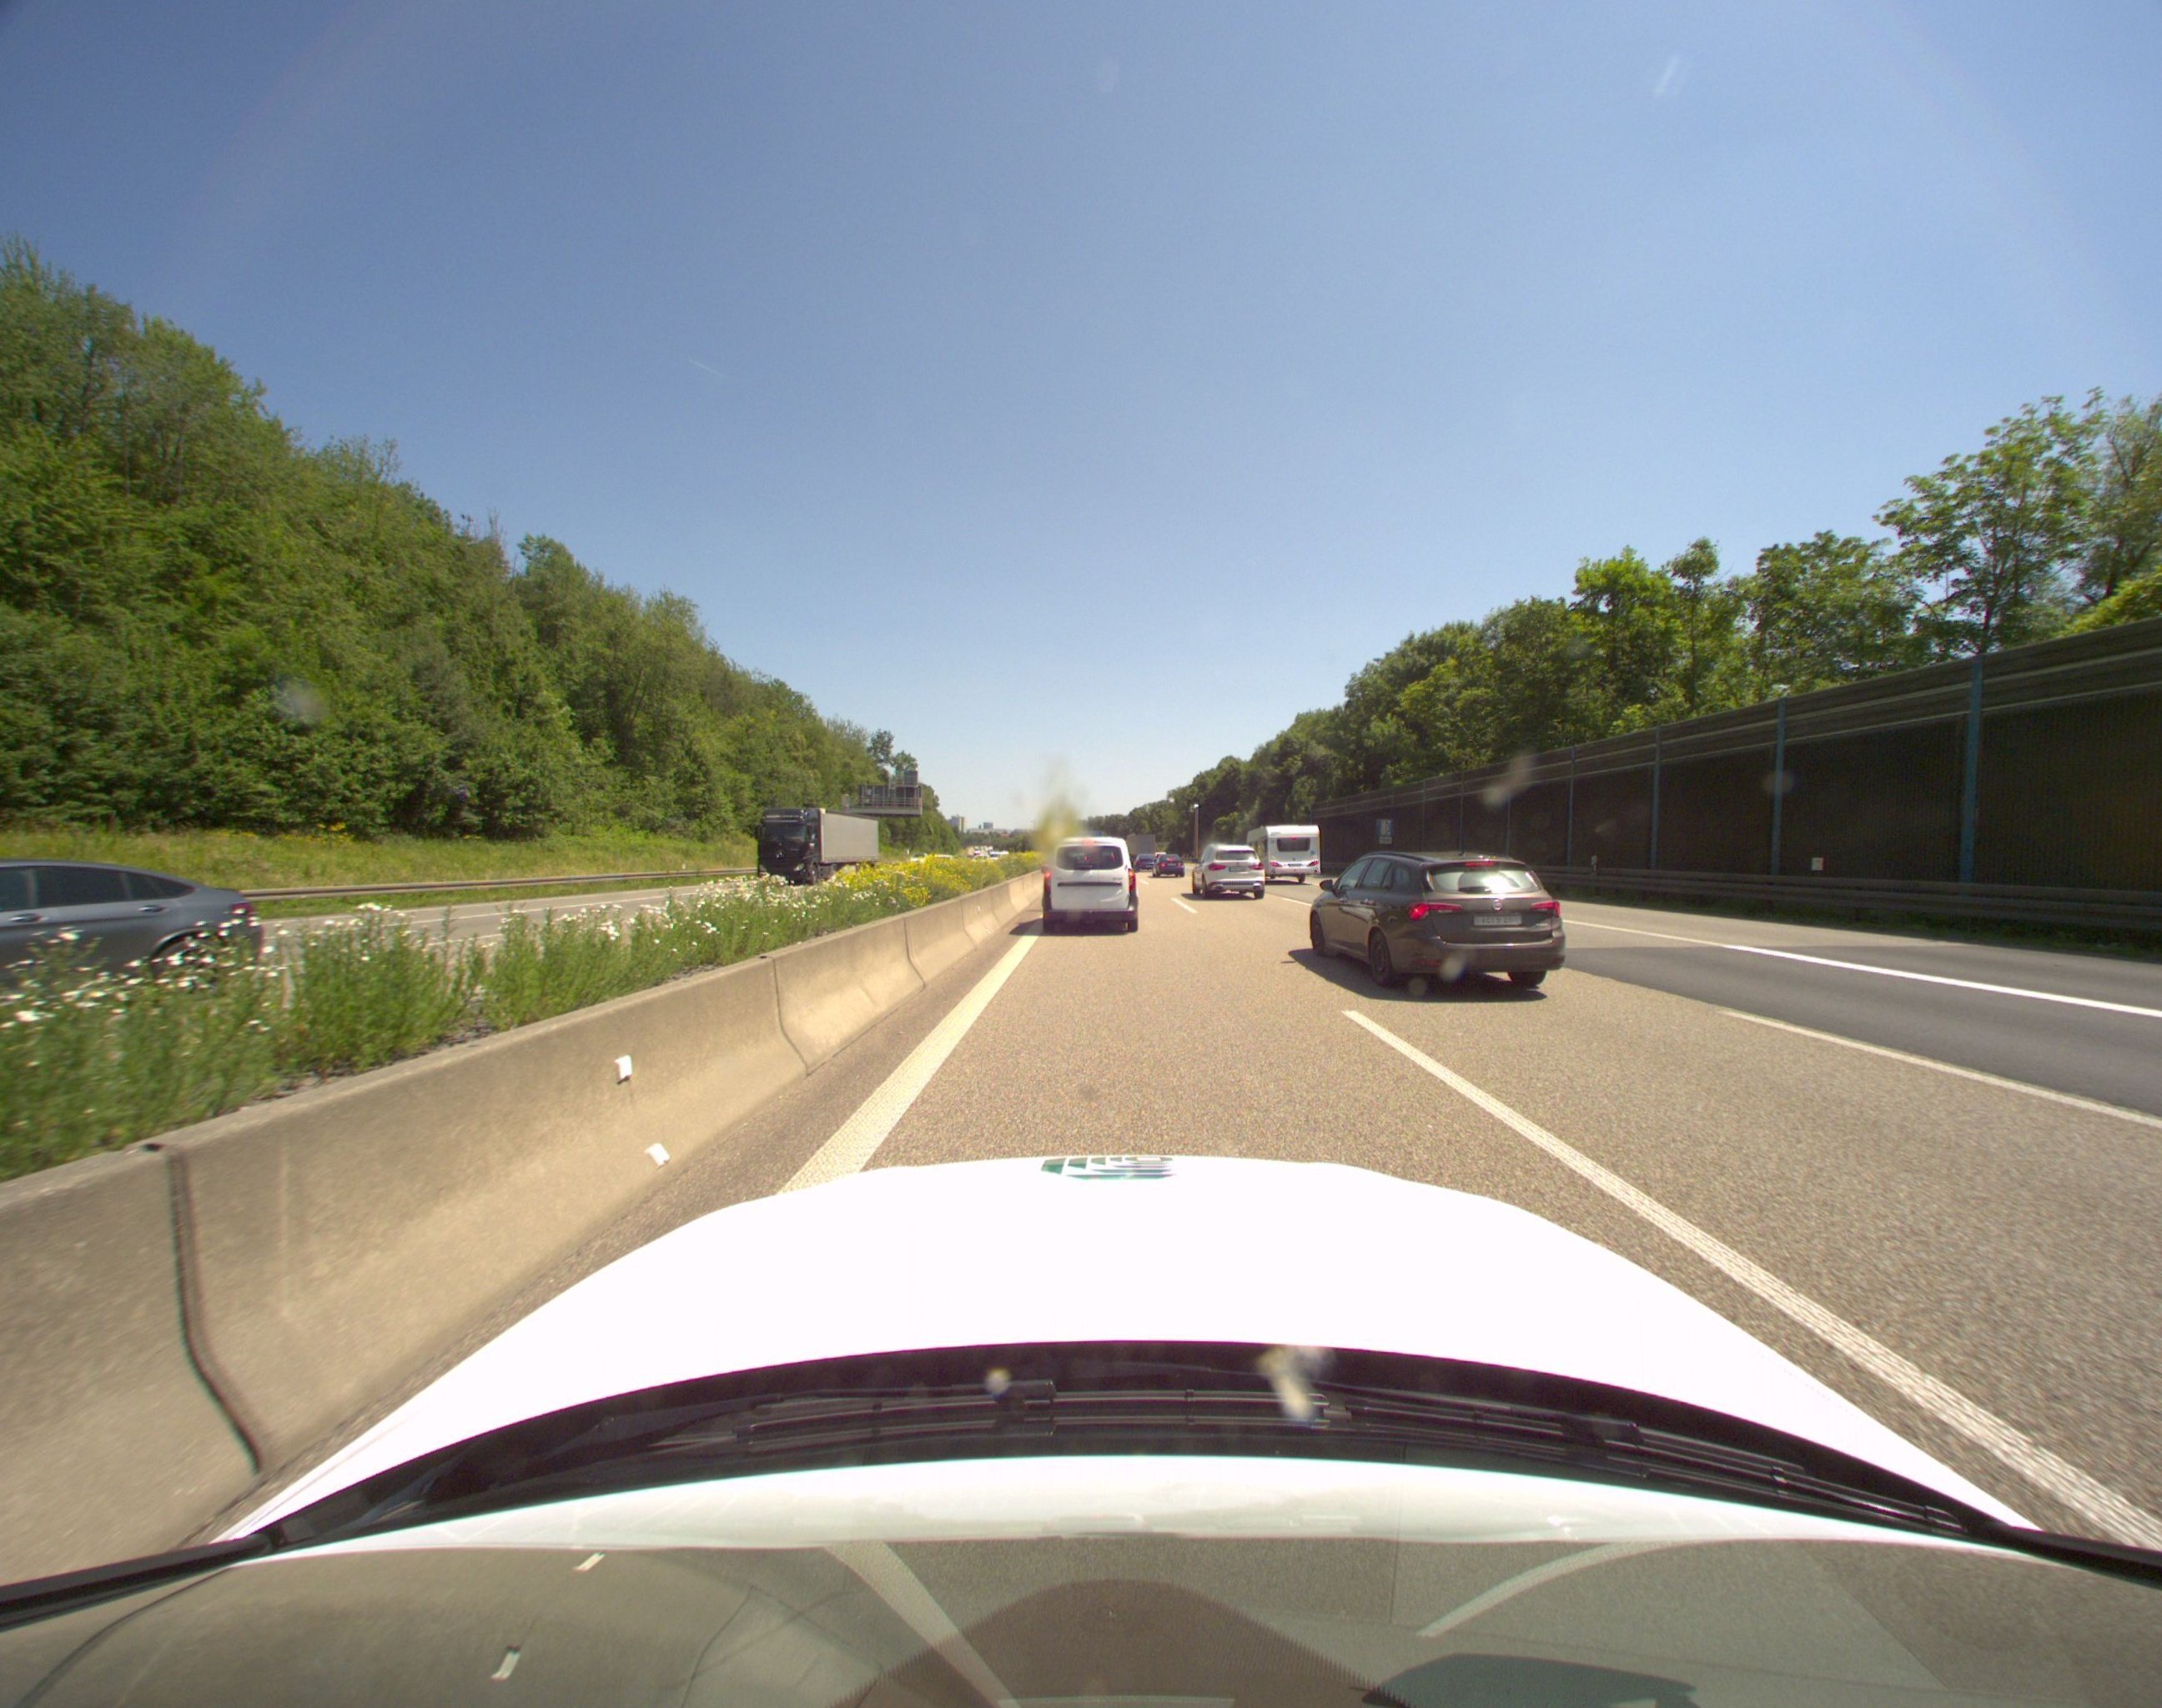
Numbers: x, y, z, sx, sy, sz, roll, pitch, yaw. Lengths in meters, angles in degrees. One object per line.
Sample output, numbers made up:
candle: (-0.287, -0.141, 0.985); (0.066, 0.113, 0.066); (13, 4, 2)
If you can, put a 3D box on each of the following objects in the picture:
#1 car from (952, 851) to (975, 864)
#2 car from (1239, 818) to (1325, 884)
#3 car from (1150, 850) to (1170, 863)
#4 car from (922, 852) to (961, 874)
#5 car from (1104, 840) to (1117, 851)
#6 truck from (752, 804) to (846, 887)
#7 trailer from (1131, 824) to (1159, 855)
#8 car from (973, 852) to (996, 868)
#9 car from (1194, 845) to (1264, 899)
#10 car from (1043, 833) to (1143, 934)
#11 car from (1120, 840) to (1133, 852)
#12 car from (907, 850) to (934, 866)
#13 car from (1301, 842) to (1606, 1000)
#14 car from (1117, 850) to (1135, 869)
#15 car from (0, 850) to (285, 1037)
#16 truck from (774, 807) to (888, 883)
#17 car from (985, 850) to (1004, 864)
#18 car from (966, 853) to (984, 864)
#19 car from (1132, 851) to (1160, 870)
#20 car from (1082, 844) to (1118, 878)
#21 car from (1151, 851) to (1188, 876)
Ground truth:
car: (-13.854, 0.444, 96.128); (1.987, 1.491, 4.001); (-1, 0, 1)
car: (9.245, -0.133, 38.099); (2.471, 2.765, 6.219); (-1, 0, 0)
car: (8.894, 0.263, 92.107); (1.818, 1.424, 4.000); (-1, 0, 0)
car: (-9.873, 0.605, 57.888); (1.986, 1.498, 4.248); (-1, 0, 1)
car: (5.799, -1.612, 160.039); (1.989, 2.013, 3.995); (-1, 0, -4)
truck: (-14.485, -0.427, 42.338); (2.820, 3.939, 6.004); (-1, 0, -1)
trailer: (8.644, -1.930, 110.918); (3.072, 3.985, 10.322); (-1, 0, 0)
car: (-9.363, 0.537, 79.004); (1.669, 1.498, 3.883); (-1, 0, 1)
car: (4.708, 0.530, 26.399); (1.862, 1.608, 3.884); (0, 1, 4)
car: (0.332, 0.534, 16.639); (1.794, 1.808, 4.004); (0, 0, 3)
car: (7.984, -1.342, 142.786); (1.987, 2.013, 4.000); (-1, 0, 0)
car: (-17.885, 0.426, 91.022); (1.987, 1.692, 4.768); (-1, 0, 1)
car: (4.184, 0.623, 10.049); (1.832, 1.513, 4.403); (0, 1, 1)
car: (4.937, 0.596, 90.192); (1.818, 1.989, 4.000); (-1, 0, 0)
car: (-10.402, 0.790, 7.329); (1.986, 1.627, 4.476); (-1, 0, 2)
truck: (-14.624, -0.511, 49.223); (2.820, 3.938, 13.740); (-1, 0, -1)
car: (-11.156, 0.370, 105.450); (1.878, 1.755, 4.277); (-1, 0, 1)
car: (-14.685, 0.666, 113.008); (1.987, 1.444, 4.007); (-1, 0, 1)
car: (5.091, 0.491, 64.201); (1.818, 1.424, 4.000); (-1, 0, 0)
car: (1.042, 0.388, 46.506); (1.987, 1.860, 4.000); (-1, 0, 0)
car: (5.252, 0.556, 48.820); (1.818, 1.424, 4.000); (-1, 0, 0)
